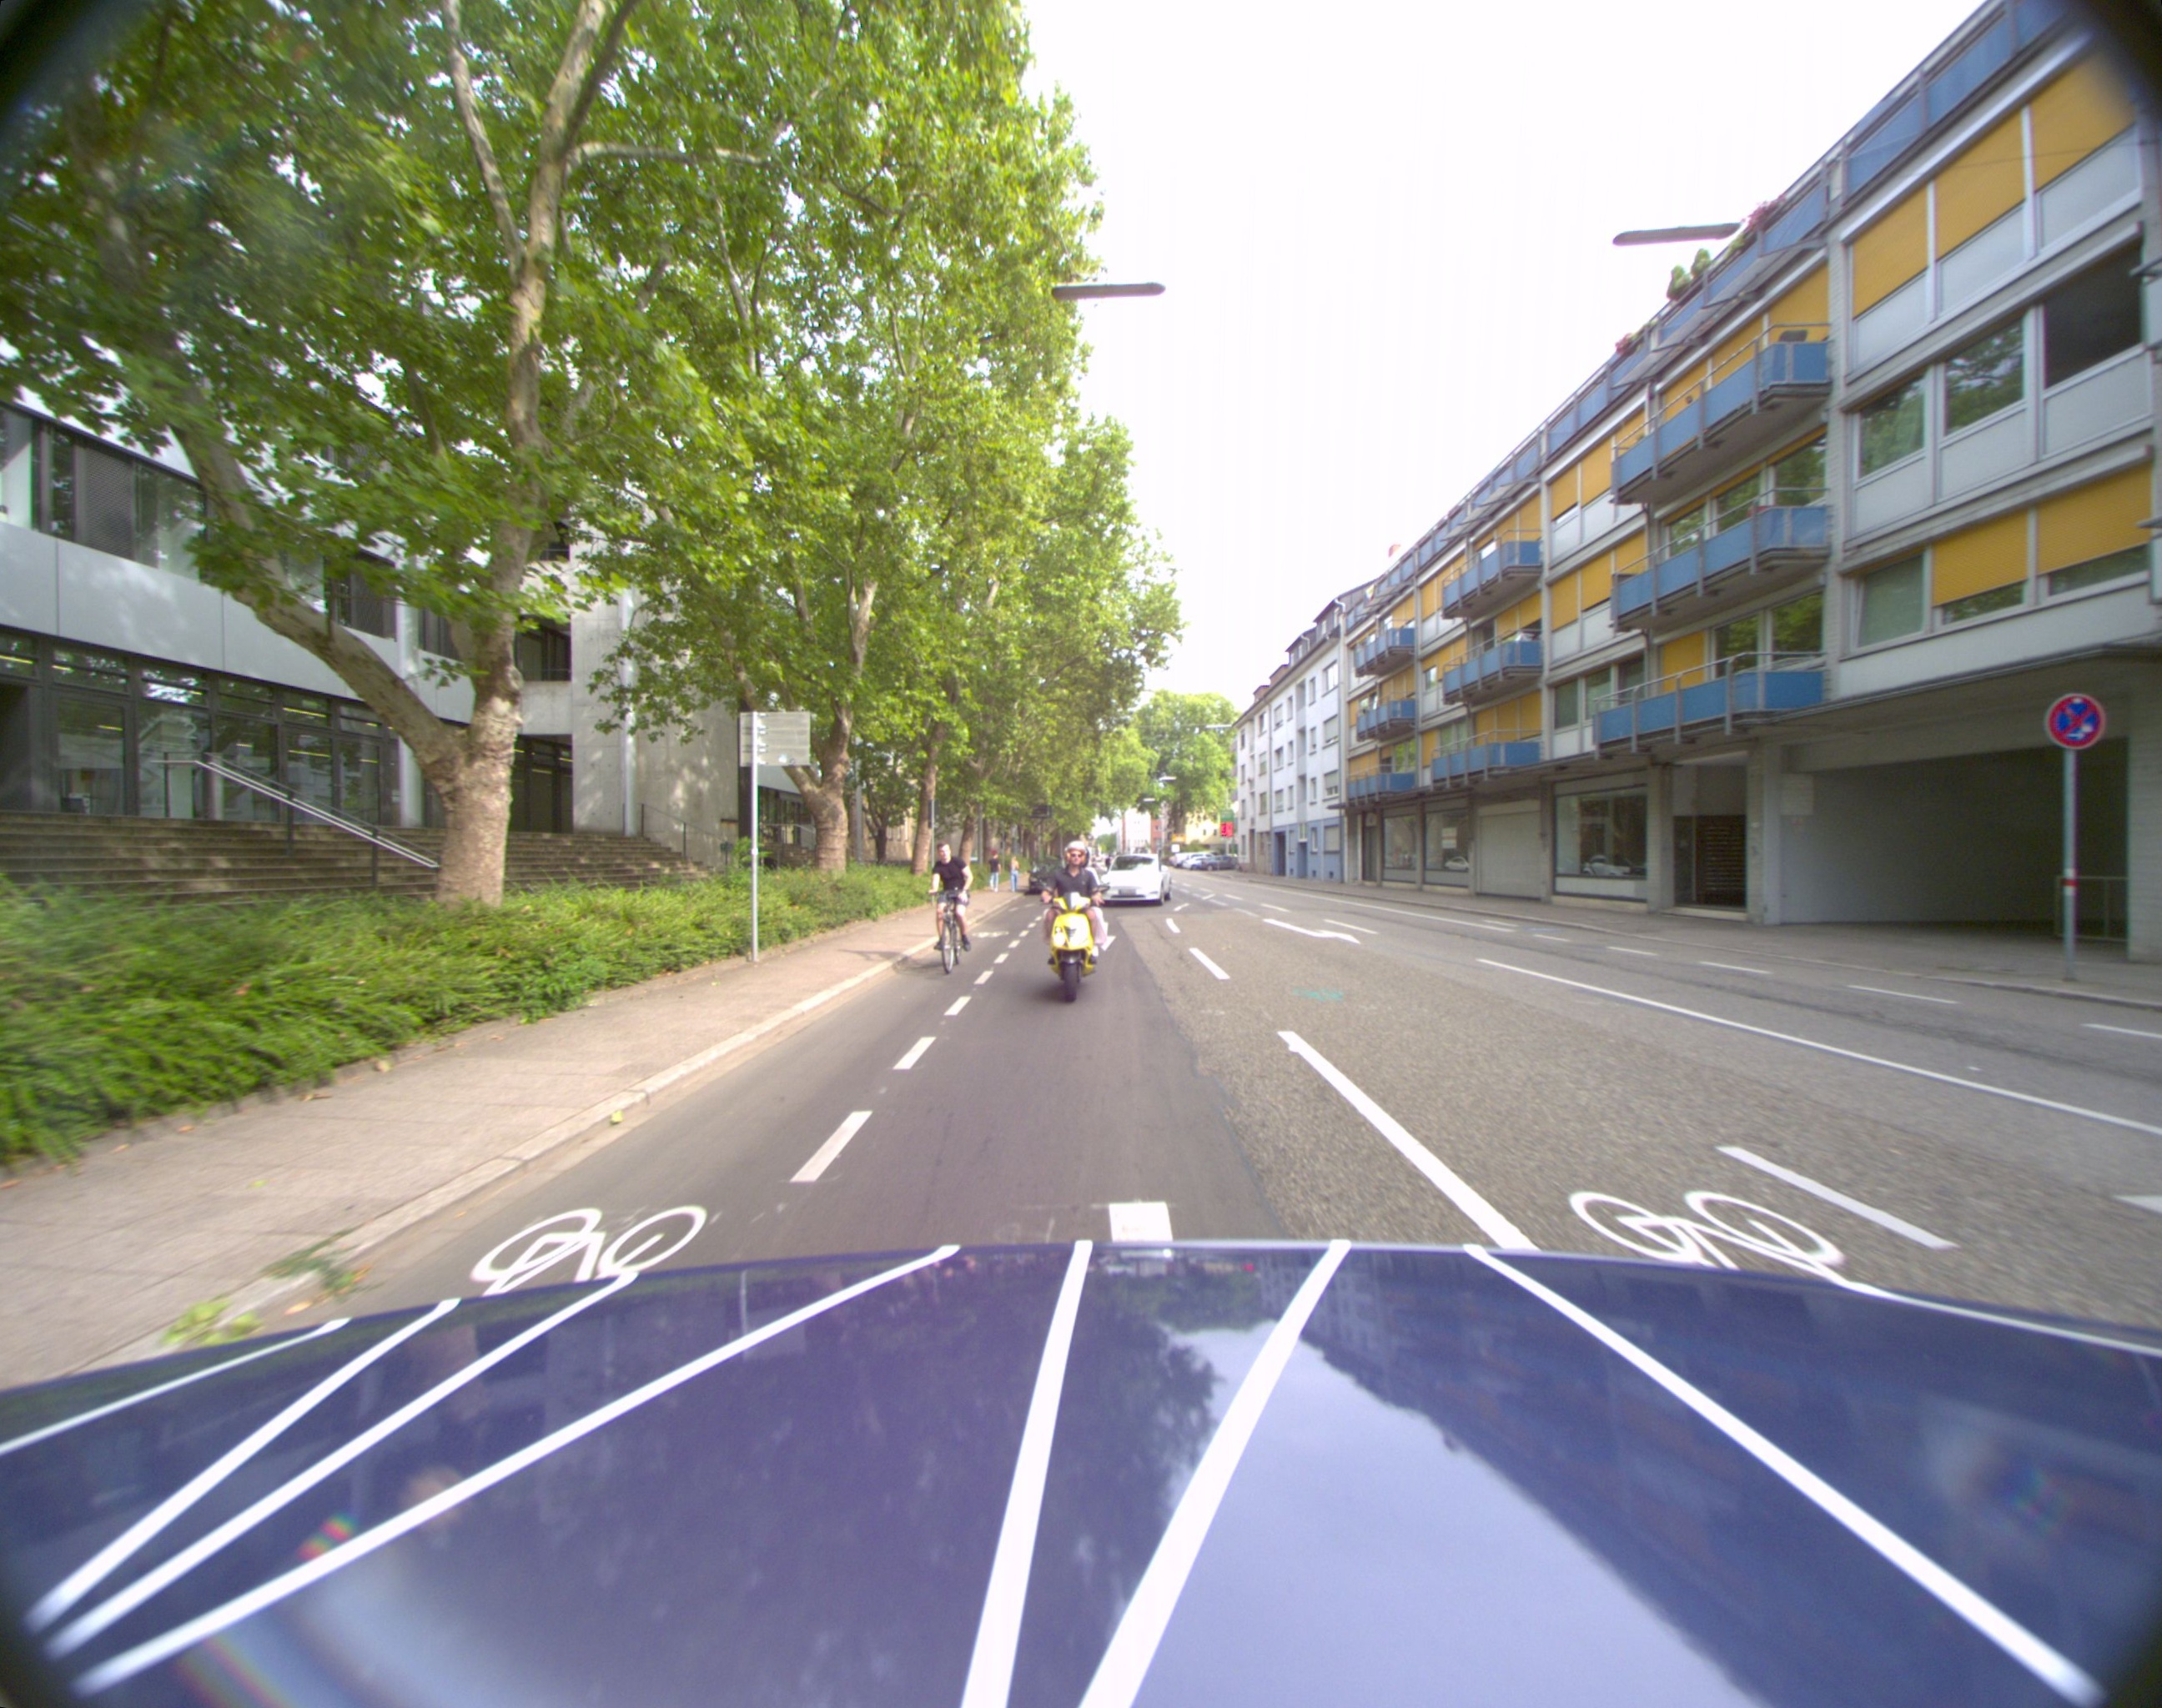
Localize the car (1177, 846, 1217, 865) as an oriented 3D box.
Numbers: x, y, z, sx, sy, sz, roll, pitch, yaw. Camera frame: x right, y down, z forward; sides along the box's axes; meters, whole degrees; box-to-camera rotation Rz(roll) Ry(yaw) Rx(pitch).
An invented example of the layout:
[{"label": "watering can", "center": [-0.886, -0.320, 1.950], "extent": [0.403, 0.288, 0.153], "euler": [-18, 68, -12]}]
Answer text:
[{"label": "car", "center": [12.859, 0.177, 84.302], "extent": [3.997, 2.002, 2.000], "euler": [-2, 1, 0]}]

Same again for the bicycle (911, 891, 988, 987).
[{"label": "bicycle", "center": [-1.857, 1.164, 10.988], "extent": [0.773, 1.124, 2.003], "euler": [-3, 0, -2]}]

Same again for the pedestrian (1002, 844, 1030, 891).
[{"label": "pedestrian", "center": [-2.878, 0.598, 33.688], "extent": [1.003, 2.002, 0.997], "euler": [-2, 1, 3]}]

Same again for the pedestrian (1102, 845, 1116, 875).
[{"label": "pedestrian", "center": [1.920, 0.413, 52.092], "extent": [0.842, 2.002, 0.875], "euler": [-2, 1, 5]}]

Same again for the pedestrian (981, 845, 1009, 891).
[{"label": "pedestrian", "center": [-3.837, 0.626, 33.854], "extent": [1.003, 2.002, 0.997], "euler": [-2, 1, 3]}]

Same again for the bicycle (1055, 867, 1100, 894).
[{"label": "bicycle", "center": [-0.113, 1.038, 30.245], "extent": [0.769, 1.009, 2.412], "euler": [-1, 0, 27]}]

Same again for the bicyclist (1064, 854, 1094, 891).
[{"label": "bicyclist", "center": [-0.064, 0.726, 30.328], "extent": [0.783, 1.438, 0.915], "euler": [-2, 1, 29]}]

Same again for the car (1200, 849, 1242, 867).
[{"label": "car", "center": [14.134, 0.402, 77.008], "extent": [3.870, 1.678, 1.882], "euler": [-2, 0, 0]}]

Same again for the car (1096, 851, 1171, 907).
[{"label": "car", "center": [1.799, 0.731, 24.523], "extent": [1.997, 1.543, 4.524], "euler": [-2, 0, 9]}]

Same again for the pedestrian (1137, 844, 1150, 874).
[{"label": "pedestrian", "center": [4.305, 0.317, 52.130], "extent": [0.842, 2.002, 0.875], "euler": [-2, 1, 5]}]

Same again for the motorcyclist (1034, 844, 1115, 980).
[{"label": "motorcyclist", "center": [-0.053, 0.623, 8.493], "extent": [0.781, 1.419, 0.764], "euler": [-3, 0, 3]}]

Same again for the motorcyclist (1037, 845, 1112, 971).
[{"label": "motorcyclist", "center": [-0.058, 0.632, 9.142], "extent": [0.781, 1.419, 0.689], "euler": [-3, 0, 3]}]

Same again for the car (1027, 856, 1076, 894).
[{"label": "car", "center": [-1.269, 0.887, 34.648], "extent": [1.998, 1.532, 4.271], "euler": [-2, 0, 0]}]

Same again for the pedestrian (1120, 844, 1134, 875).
[{"label": "pedestrian", "center": [3.061, 0.371, 50.808], "extent": [0.842, 2.002, 0.875], "euler": [-2, 1, 5]}]

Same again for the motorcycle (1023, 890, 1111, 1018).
[{"label": "motorcycle", "center": [-0.103, 1.047, 8.589], "extent": [0.781, 1.171, 1.993], "euler": [-3, -1, 3]}]

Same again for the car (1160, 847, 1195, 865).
[{"label": "car", "center": [11.866, 0.252, 93.540], "extent": [3.997, 2.002, 2.000], "euler": [-2, 1, 0]}]

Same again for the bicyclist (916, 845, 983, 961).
[{"label": "bicyclist", "center": [-1.885, 0.684, 10.984], "extent": [0.773, 1.574, 0.801], "euler": [-3, 0, -3]}]

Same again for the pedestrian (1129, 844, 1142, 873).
[{"label": "pedestrian", "center": [3.845, 0.329, 53.902], "extent": [0.842, 2.002, 0.875], "euler": [-2, 1, 5]}]

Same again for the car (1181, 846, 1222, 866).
[{"label": "car", "center": [12.911, 0.223, 81.653], "extent": [3.997, 2.002, 2.000], "euler": [-2, 1, 0]}]
